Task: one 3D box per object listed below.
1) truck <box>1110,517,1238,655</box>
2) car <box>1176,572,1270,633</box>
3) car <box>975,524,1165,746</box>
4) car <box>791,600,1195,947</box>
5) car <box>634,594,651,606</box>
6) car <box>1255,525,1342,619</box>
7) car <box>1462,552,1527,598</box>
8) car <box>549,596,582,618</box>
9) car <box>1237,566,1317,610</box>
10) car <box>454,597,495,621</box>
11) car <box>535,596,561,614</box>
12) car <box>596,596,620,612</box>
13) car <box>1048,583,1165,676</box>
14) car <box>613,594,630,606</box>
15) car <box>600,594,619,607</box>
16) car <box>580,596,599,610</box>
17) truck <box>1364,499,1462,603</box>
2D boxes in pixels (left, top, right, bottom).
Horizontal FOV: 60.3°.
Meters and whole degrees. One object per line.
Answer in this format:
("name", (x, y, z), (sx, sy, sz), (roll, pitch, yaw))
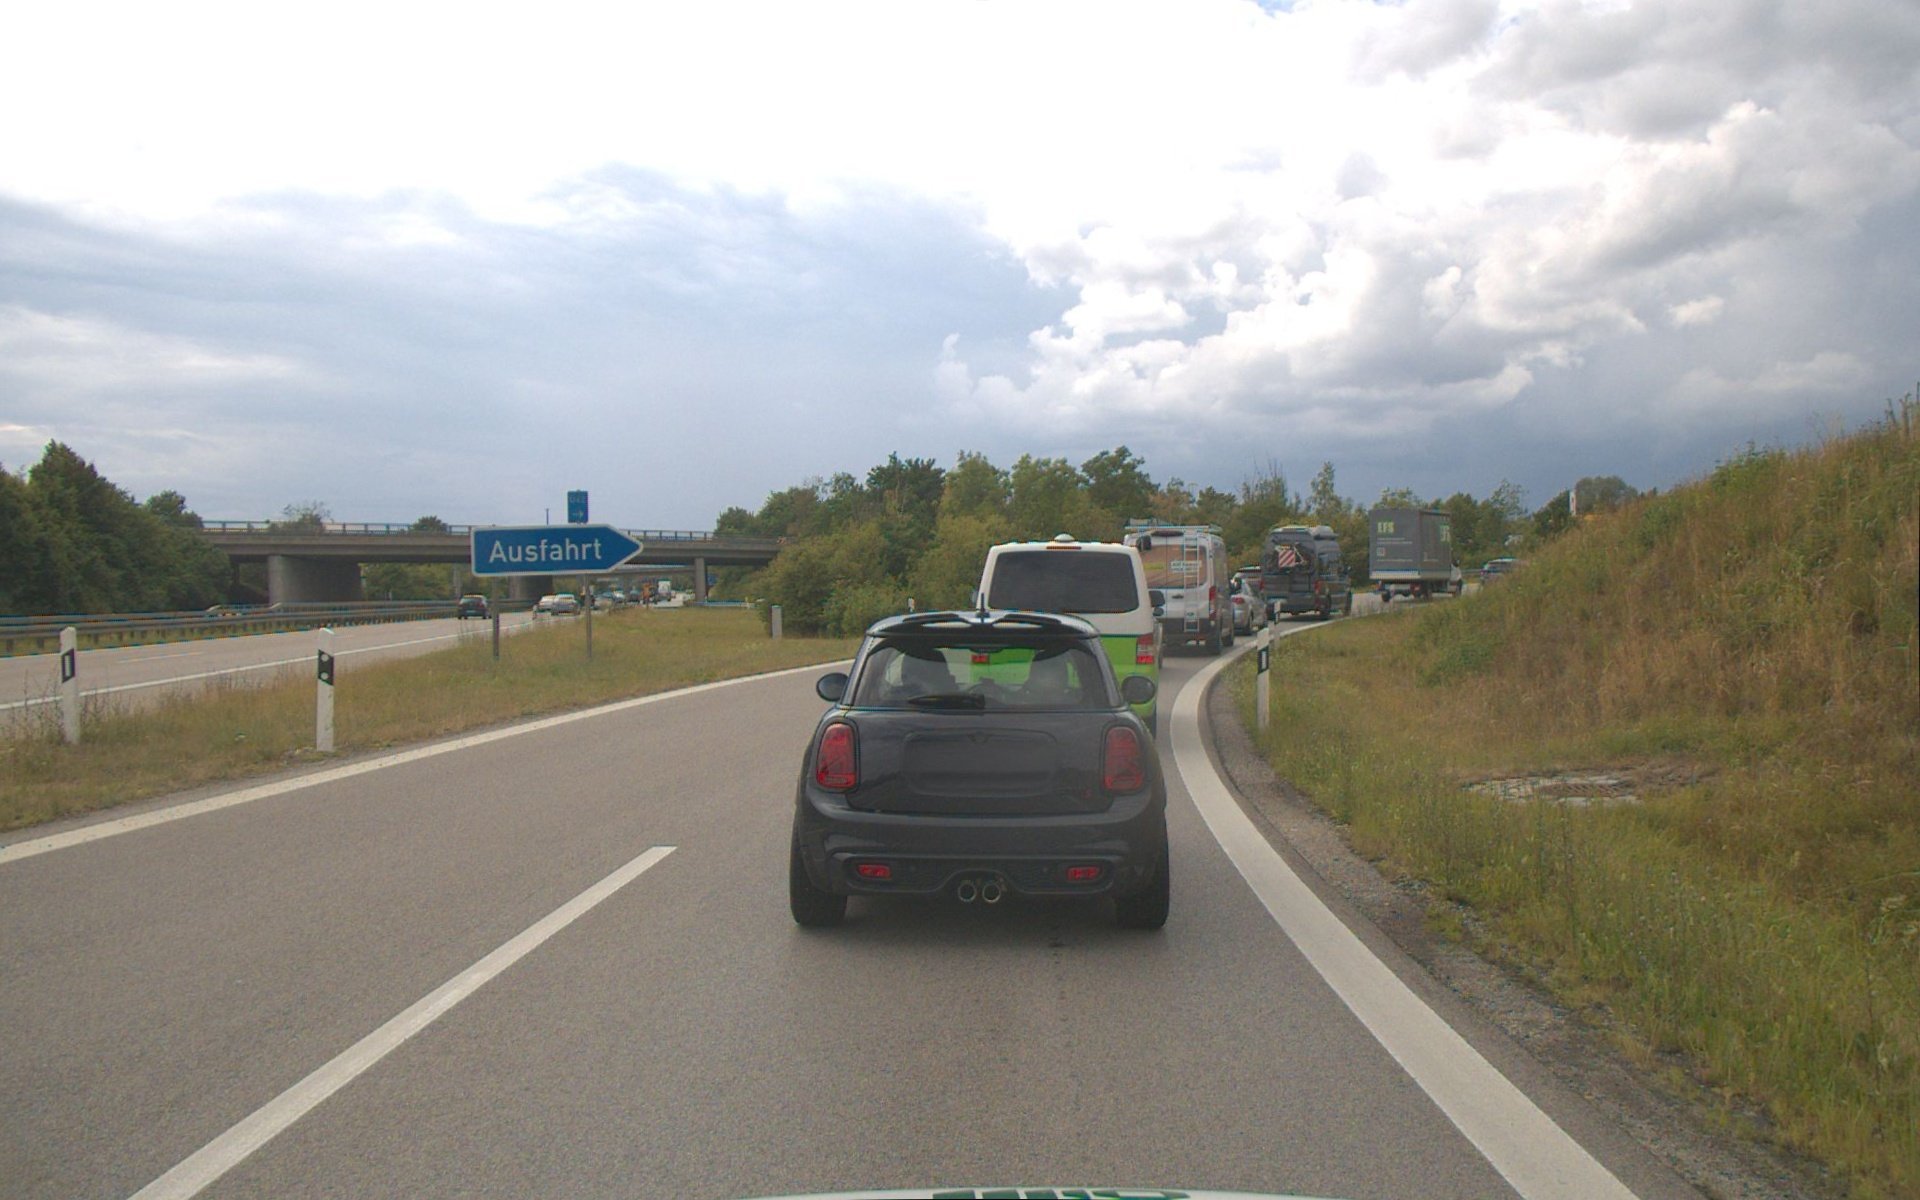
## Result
("truck", (4.633, -0.320, 35.093), (2.132, 2.705, 5.113), (-1, 1, 14))
("car", (7.018, 0.053, 43.819), (1.827, 1.536, 4.002), (0, 0, 18))
("car", (1.243, 0.308, 17.369), (1.746, 2.049, 4.003), (0, 0, 6))
("car", (0.129, 0.732, 8.813), (1.692, 1.438, 3.725), (0, 0, 0))
("car", (-46.711, -0.037, 243.553), (2.056, 1.700, 4.300), (-1, 0, -7))
("car", (10.793, -0.884, 52.560), (2.062, 2.845, 4.000), (1, 1, 21))
("car", (25.208, -1.175, 77.955), (1.958, 2.049, 3.988), (0, -1, 33))
("car", (-27.677, 0.477, 116.037), (1.746, 1.423, 4.543), (-1, 0, -7))
("car", (12.020, -0.433, 62.523), (1.762, 1.583, 3.953), (0, -1, 30))
("car", (-29.820, 0.551, 101.729), (1.746, 1.423, 4.299), (-1, 0, -7))
("car", (-34.479, 0.423, 138.565), (1.747, 1.423, 4.296), (-1, 0, -10))
("car", (-32.975, 0.356, 155.077), (1.746, 1.423, 4.023), (-1, 0, -7))
("car", (2.502, 0.452, 27.606), (1.724, 1.423, 3.728), (-1, 0, 8))
("car", (-49.615, -0.008, 242.624), (2.119, 1.700, 4.300), (-1, 0, -7))
("car", (-46.177, 0.079, 218.154), (2.056, 1.700, 4.300), (-1, 0, -7))
("car", (-39.999, 0.316, 178.521), (1.747, 1.423, 4.296), (-1, 0, -10))
("truck", (18.649, -1.923, 67.889), (2.189, 3.975, 5.999), (0, -1, 33))
